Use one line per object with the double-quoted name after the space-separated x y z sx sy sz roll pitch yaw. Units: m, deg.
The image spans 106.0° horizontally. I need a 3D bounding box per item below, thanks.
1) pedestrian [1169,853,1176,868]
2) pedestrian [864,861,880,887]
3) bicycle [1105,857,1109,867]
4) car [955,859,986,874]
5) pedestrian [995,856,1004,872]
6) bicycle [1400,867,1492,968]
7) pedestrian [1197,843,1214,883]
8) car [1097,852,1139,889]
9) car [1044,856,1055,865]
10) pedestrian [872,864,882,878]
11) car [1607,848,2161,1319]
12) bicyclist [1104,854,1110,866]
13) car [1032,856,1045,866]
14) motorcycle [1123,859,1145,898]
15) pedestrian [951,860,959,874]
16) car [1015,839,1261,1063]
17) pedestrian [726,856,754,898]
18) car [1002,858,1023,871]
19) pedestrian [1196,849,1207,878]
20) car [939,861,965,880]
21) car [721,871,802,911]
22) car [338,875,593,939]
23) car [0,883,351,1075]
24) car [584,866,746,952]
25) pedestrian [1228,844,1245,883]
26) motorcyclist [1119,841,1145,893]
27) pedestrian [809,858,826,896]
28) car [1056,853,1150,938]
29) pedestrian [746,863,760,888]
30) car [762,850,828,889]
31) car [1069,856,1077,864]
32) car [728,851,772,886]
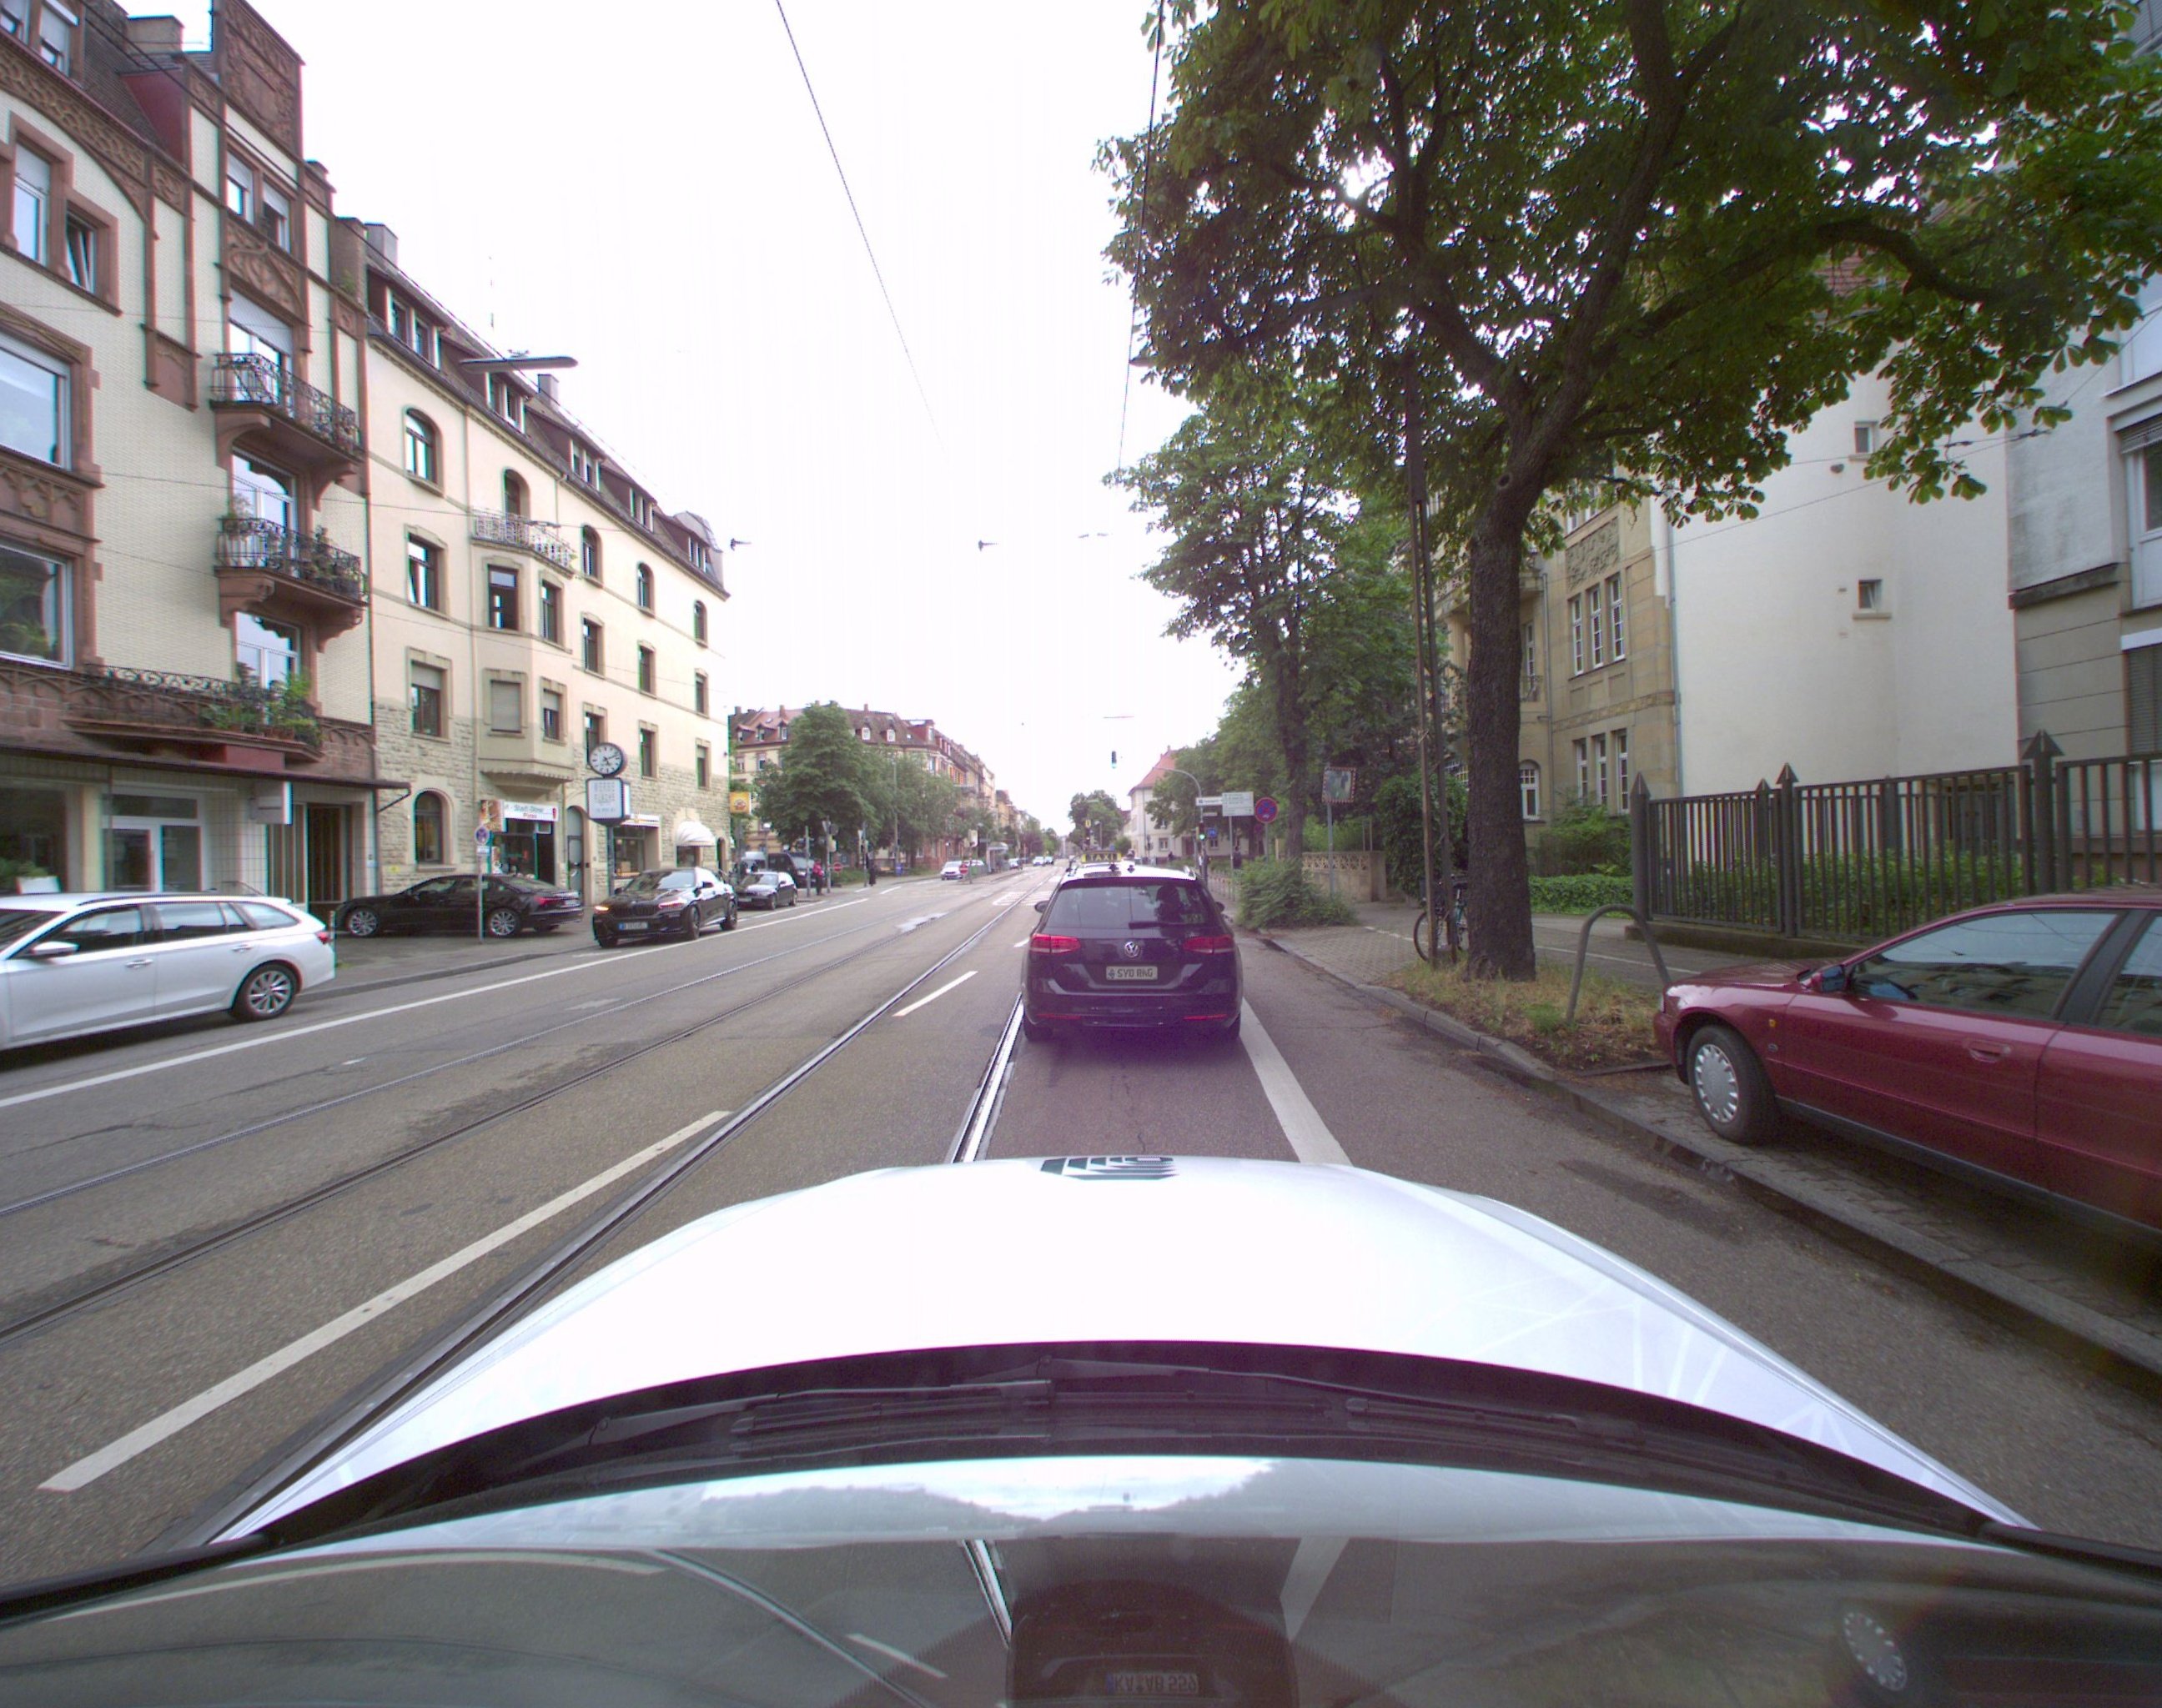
9.386 0.641 83.678 0.577 1.553 0.612 -2 0 13 "pedestrian"
-13.743 1.288 53.637 0.833 1.663 0.591 -2 0 1 "pedestrian"
3.417 1.077 106.810 0.295 1.223 1.433 -2 0 7 "bicycle"
-13.329 1.477 98.102 1.705 1.622 3.887 -2 0 28 "car"
-7.725 0.973 77.403 0.711 1.521 0.590 -2 0 1 "pedestrian"
4.829 0.784 10.706 0.428 1.198 1.915 -2 -2 45 "bicycle"
5.921 0.418 38.722 0.583 1.831 0.604 -5 0 1 "pedestrian"
1.666 0.709 37.409 1.718 1.546 3.999 -1 0 0 "car"
-5.984 1.177 155.067 1.788 1.596 4.003 -2 0 3 "car"
-17.540 1.468 69.976 0.591 1.168 0.837 -2 0 -29 "pedestrian"
4.174 0.721 3.062 1.597 1.399 4.226 -4 0 0 "car"
3.425 0.762 106.842 0.648 1.568 0.697 -2 0 7 "bicyclist"
-7.252 1.219 138.536 1.788 1.596 4.003 -2 0 3 "car"
1.799 0.822 27.520 0.443 1.235 1.913 -2 0 12 "motorcycle"
-14.112 1.451 91.388 0.582 1.521 0.653 -2 -1 35 "pedestrian"
0.409 0.690 7.794 1.718 1.546 3.999 -1 0 0 "car"
-17.011 1.143 40.647 0.971 2.013 0.835 -2 0 -1 "pedestrian"
-8.758 1.355 104.887 1.710 1.465 3.874 -2 0 10 "car"
7.967 0.631 53.980 0.512 1.831 0.418 -5 0 1 "pedestrian"
-10.366 1.314 65.506 1.686 1.410 3.993 -3 0 -5 "car"
-12.317 1.396 31.690 1.644 1.361 4.126 1 0 -2 "car"
-14.359 1.227 19.239 4.418 1.370 1.877 1 0 -5 "car"
-9.949 1.137 7.816 1.742 1.484 4.607 -2 0 -1 "car"
-9.663 1.174 19.424 1.882 1.611 4.872 -4 0 -9 "car"
7.440 0.468 38.993 0.630 1.815 0.725 -2 0 -3 "pedestrian"
1.744 0.432 27.608 0.698 1.692 0.807 -2 0 11 "motorcyclist"
-13.120 1.125 40.539 0.621 1.842 0.609 -2 0 -3 "pedestrian"
0.407 0.780 17.190 1.718 1.546 3.999 -1 0 0 "car"
-23.299 1.528 57.847 0.703 1.715 0.545 -2 -1 -40 "pedestrian"
-19.211 1.047 54.506 2.198 2.417 5.315 -2 0 -43 "car"
-2.205 1.539 215.497 2.026 2.014 3.999 -1 -1 0 "car"
-25.419 1.106 62.373 2.194 2.527 5.325 -2 0 -32 "car"
